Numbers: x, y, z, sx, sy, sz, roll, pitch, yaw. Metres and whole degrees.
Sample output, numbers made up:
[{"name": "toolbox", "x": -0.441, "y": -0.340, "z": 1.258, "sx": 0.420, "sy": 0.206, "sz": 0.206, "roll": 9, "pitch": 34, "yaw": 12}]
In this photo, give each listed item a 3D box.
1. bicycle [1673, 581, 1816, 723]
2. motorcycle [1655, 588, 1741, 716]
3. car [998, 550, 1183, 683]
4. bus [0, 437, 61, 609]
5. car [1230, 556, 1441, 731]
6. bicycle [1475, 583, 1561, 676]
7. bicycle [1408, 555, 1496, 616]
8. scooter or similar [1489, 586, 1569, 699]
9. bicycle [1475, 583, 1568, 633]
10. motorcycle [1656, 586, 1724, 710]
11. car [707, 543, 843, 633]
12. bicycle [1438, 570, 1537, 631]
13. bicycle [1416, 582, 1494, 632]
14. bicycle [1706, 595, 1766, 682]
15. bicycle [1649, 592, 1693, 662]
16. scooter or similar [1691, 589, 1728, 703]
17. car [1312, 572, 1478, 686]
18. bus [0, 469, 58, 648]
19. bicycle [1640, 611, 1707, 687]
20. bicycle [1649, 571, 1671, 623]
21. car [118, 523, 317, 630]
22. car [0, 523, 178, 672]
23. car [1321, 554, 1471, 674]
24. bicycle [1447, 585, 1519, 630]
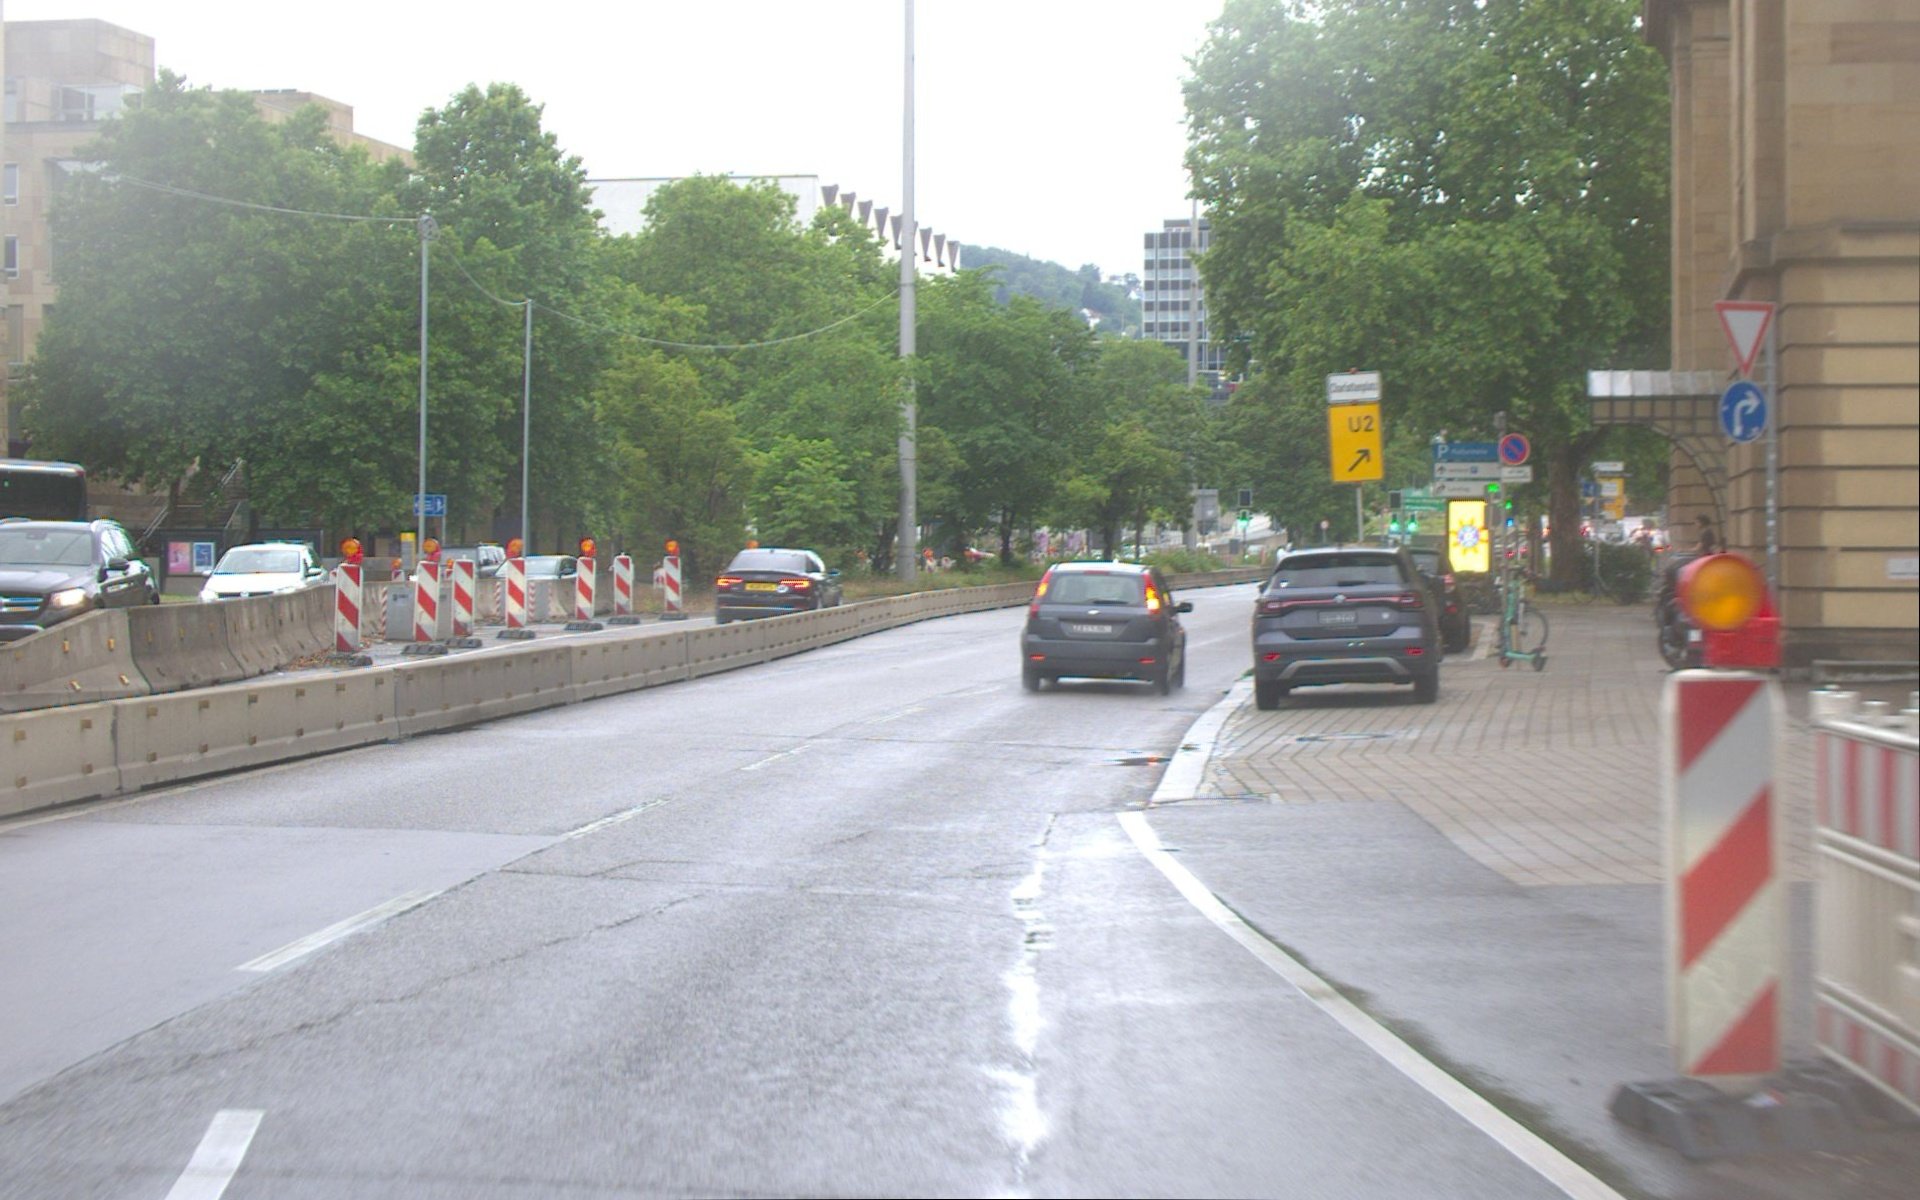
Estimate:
[{"name": "bicycle", "x": 7.571, "y": 0.490, "z": 33.276, "sx": 1.102, "sy": 1.313, "sz": 1.858, "roll": 1, "pitch": 0, "yaw": 6}, {"name": "motorcycle", "x": 7.736, "y": 0.529, "z": 35.984, "sx": 0.807, "sy": 1.294, "sz": 1.798, "roll": 1, "pitch": 0, "yaw": 14}, {"name": "car", "x": 1.423, "y": 0.194, "z": 38.878, "sx": 1.844, "sy": 1.411, "sz": 3.839, "roll": -1, "pitch": 0, "yaw": -1}, {"name": "bus", "x": -23.618, "y": -1.716, "z": 71.745, "sx": 2.806, "sy": 3.798, "sz": 14.588, "roll": 2, "pitch": 1, "yaw": 13}, {"name": "car", "x": 3.785, "y": 0.378, "z": 34.095, "sx": 1.872, "sy": 1.613, "sz": 4.403, "roll": 0, "pitch": 1, "yaw": 9}, {"name": "bicycle", "x": 7.545, "y": 0.389, "z": 46.565, "sx": 0.775, "sy": 1.214, "sz": 1.965, "roll": -1, "pitch": 0, "yaw": -1}, {"name": "bicycle", "x": 11.187, "y": -0.334, "z": 78.186, "sx": 1.907, "sy": 1.328, "sz": 0.650, "roll": 1, "pitch": 0, "yaw": 12}, {"name": "scooter or similar", "x": 6.660, "y": 0.486, "z": 40.269, "sx": 0.433, "sy": 1.288, "sz": 1.258, "roll": 1, "pitch": 0, "yaw": -14}, {"name": "bicycle", "x": 12.433, "y": 0.171, "z": 76.152, "sx": 1.985, "sy": 1.056, "sz": 0.759, "roll": 1, "pitch": 0, "yaw": 7}, {"name": "motorcycle", "x": 8.132, "y": 0.521, "z": 38.265, "sx": 0.667, "sy": 1.321, "sz": 2.133, "roll": 1, "pitch": 0, "yaw": 13}, {"name": "car", "x": -3.204, "y": -0.199, "z": 60.249, "sx": 1.754, "sy": 1.447, "sz": 3.999, "roll": -3, "pitch": 0, "yaw": 6}, {"name": "bicycle", "x": 12.098, "y": 0.009, "z": 78.833, "sx": 2.192, "sy": 1.332, "sz": 0.650, "roll": 1, "pitch": 0, "yaw": 12}, {"name": "bicycle", "x": 11.191, "y": 0.157, "z": 77.735, "sx": 1.680, "sy": 1.086, "sz": 0.650, "roll": 1, "pitch": 0, "yaw": 12}, {"name": "bicycle", "x": 9.629, "y": 0.476, "z": 42.606, "sx": 0.419, "sy": 1.046, "sz": 1.769, "roll": 1, "pitch": 0, "yaw": 22}, {"name": "bicycle", "x": 10.775, "y": 0.404, "z": 52.068, "sx": 0.584, "sy": 1.034, "sz": 1.758, "roll": 1, "pitch": 0, "yaw": 13}, {"name": "scooter or similar", "x": 9.489, "y": 0.577, "z": 43.500, "sx": 0.413, "sy": 1.412, "sz": 1.267, "roll": 1, "pitch": 0, "yaw": 13}, {"name": "car", "x": 5.708, "y": 0.365, "z": 44.892, "sx": 1.760, "sy": 1.409, "sz": 3.150, "roll": 1, "pitch": 0, "yaw": 14}, {"name": "bus", "x": -25.148, "y": -1.004, "z": 77.851, "sx": 3.121, "sy": 4.237, "sz": 13.486, "roll": 2, "pitch": 1, "yaw": 13}, {"name": "bicycle", "x": 10.191, "y": 0.693, "z": 49.157, "sx": 0.712, "sy": 1.048, "sz": 1.740, "roll": 1, "pitch": 0, "yaw": 5}, {"name": "bicycle", "x": 14.766, "y": -0.051, "z": 72.492, "sx": 0.352, "sy": 1.076, "sz": 1.788, "roll": -1, "pitch": 0, "yaw": 9}, {"name": "car", "x": -11.110, "y": -0.373, "z": 51.698, "sx": 1.993, "sy": 1.525, "sz": 4.000, "roll": 1, "pitch": 1, "yaw": 2}, {"name": "car", "x": -10.179, "y": -0.069, "z": 37.809, "sx": 1.920, "sy": 1.525, "sz": 4.761, "roll": 1, "pitch": 1, "yaw": 2}, {"name": "car", "x": 6.917, "y": 0.206, "z": 54.182, "sx": 1.994, "sy": 1.775, "sz": 4.186, "roll": 1, "pitch": 0, "yaw": 12}, {"name": "bicycle", "x": 12.118, "y": 0.173, "z": 79.683, "sx": 1.590, "sy": 0.991, "sz": 0.524, "roll": 1, "pitch": 1, "yaw": 12}]
